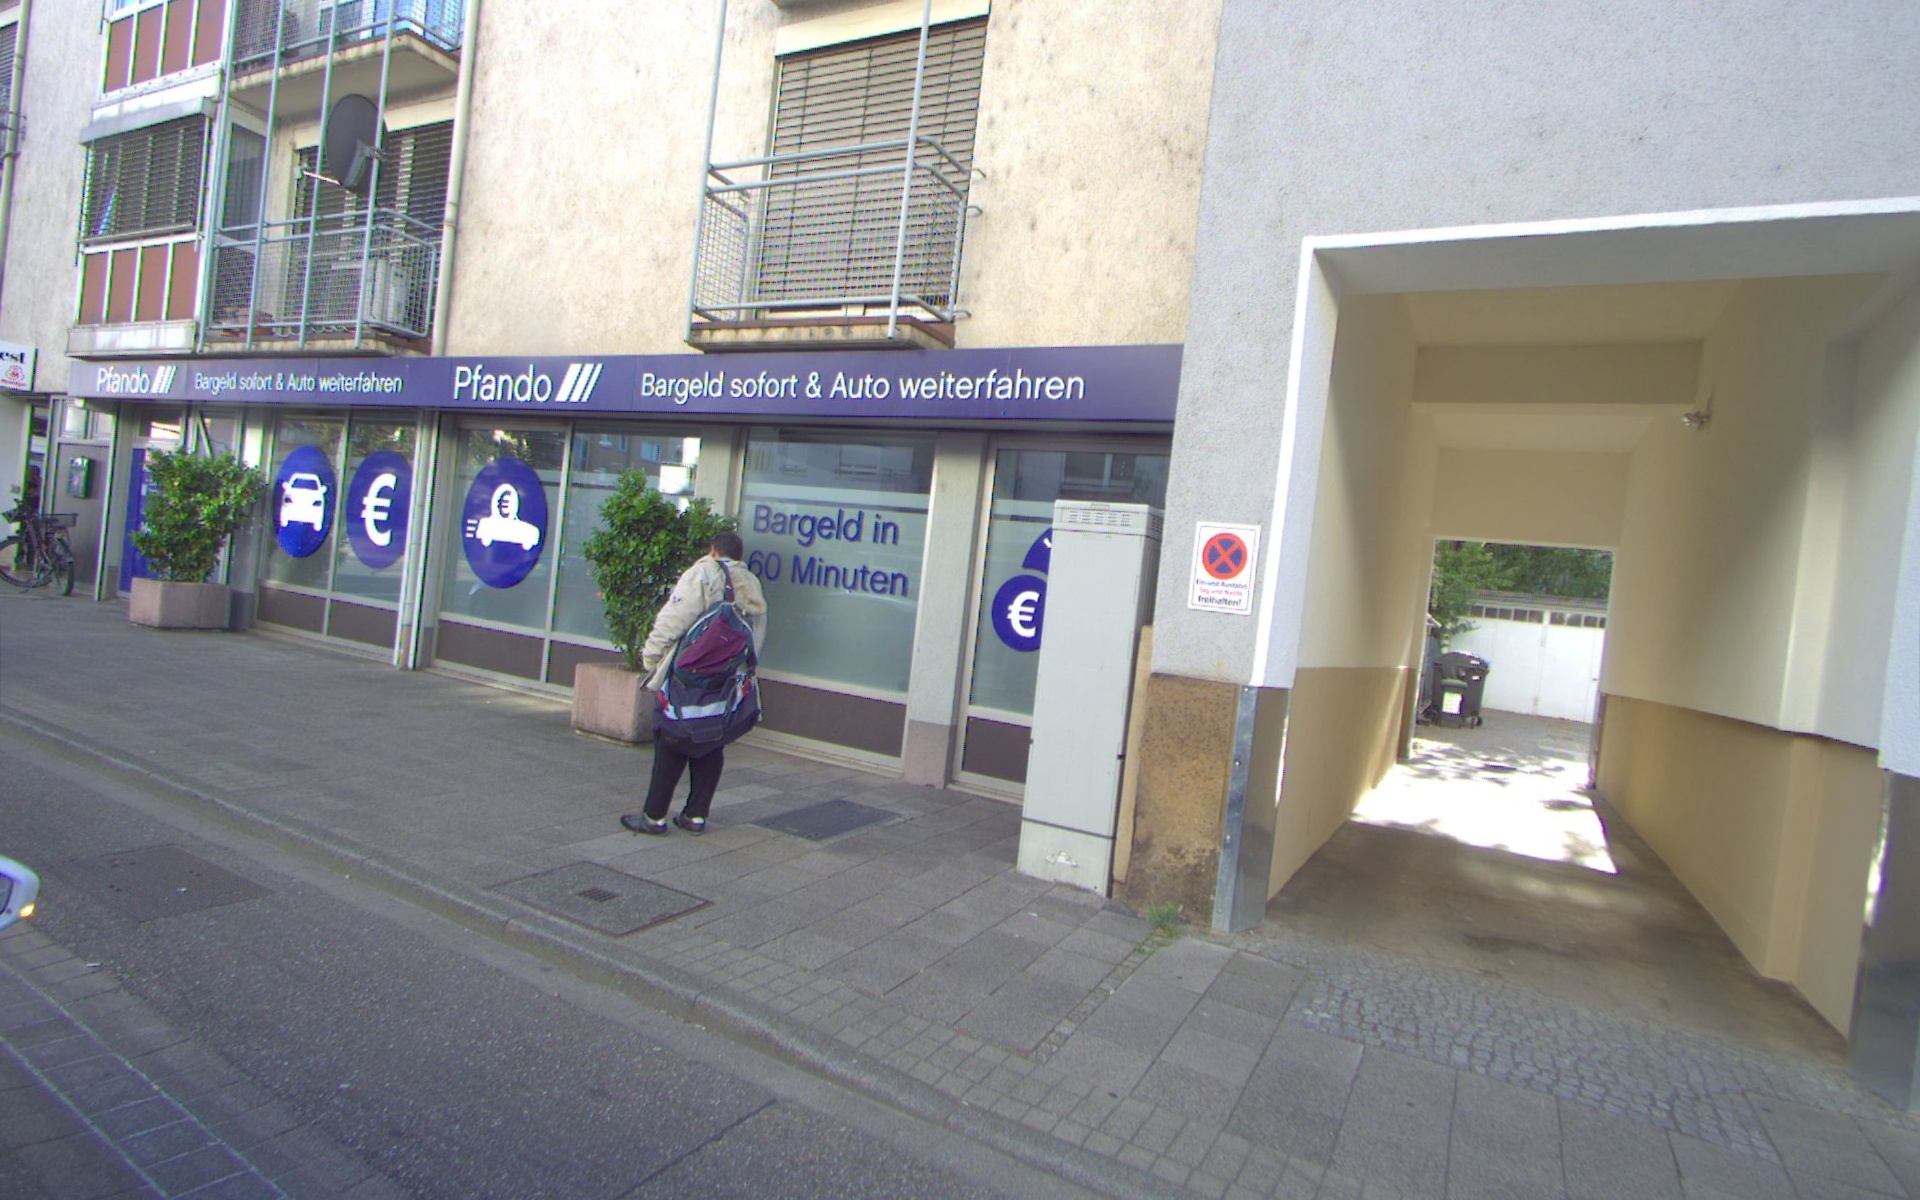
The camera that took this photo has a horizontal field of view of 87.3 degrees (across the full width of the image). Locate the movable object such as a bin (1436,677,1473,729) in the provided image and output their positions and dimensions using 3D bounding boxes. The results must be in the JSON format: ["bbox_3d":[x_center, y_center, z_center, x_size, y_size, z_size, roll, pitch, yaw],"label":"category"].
[{"bbox_3d":[9.564,1.981,19.454,0.518,0.922,0.580,7,1,29],"label":"movable object such as a bin"}]

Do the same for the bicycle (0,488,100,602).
[{"bbox_3d":[-11.840,-0.727,12.879,1.879,1.280,0.640,7,1,32],"label":"bicycle"}]

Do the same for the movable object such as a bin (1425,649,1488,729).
[{"bbox_3d":[10.116,1.788,20.457,0.945,1.426,1.598,7,1,29],"label":"movable object such as a bin"}]

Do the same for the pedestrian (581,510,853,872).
[{"bbox_3d":[-1.224,0.414,5.136,0.853,1.593,0.874,8,3,29],"label":"pedestrian"}]
